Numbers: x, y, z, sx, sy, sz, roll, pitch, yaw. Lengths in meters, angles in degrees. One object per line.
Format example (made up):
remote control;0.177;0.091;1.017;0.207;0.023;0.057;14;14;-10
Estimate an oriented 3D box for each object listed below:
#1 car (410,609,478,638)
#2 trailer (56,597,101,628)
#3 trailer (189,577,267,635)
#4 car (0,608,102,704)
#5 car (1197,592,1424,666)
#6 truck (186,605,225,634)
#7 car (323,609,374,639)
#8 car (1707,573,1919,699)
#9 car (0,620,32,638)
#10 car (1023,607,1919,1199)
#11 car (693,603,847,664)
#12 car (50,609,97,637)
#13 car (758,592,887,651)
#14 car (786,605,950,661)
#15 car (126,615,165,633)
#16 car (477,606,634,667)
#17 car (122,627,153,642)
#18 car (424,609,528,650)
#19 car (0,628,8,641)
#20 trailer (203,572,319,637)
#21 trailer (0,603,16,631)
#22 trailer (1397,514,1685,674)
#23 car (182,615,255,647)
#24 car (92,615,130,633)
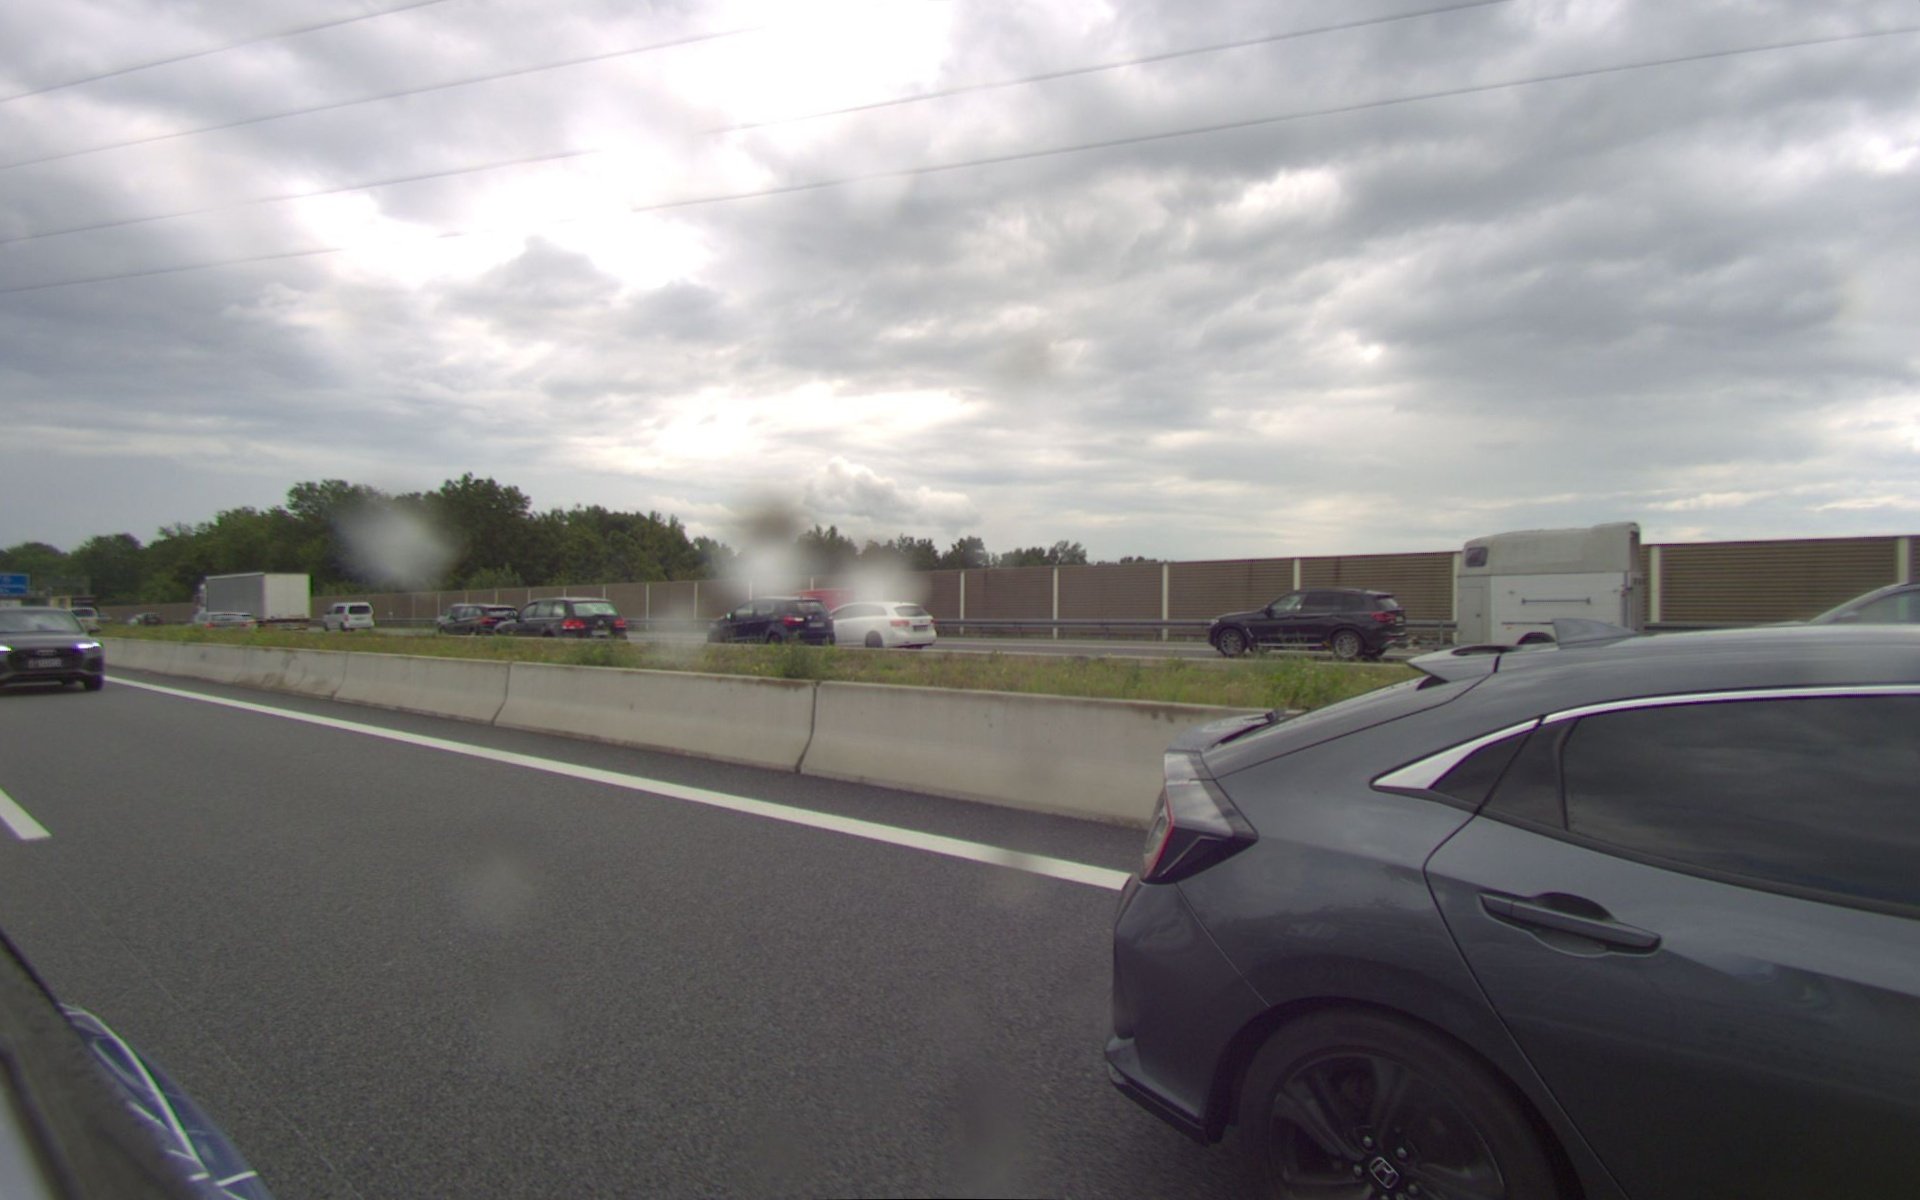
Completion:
car;-30.000;1.348;58.821;4.939;1.622;1.747;-1;0;40
trailer;-117.915;1.707;135.240;14.045;3.993;2.650;-1;0;41
trailer;-53.575;0.450;74.003;6.075;4.074;3.285;-1;0;41
car;-18.904;1.052;20.392;5.169;1.704;1.888;-1;0;43
car;8.375;0.658;24.437;4.817;1.607;1.945;-1;0;40
truck;-68.843;1.762;92.301;2.092;2.435;5.800;-1;0;-45
car;-42.378;1.649;70.104;3.999;2.029;1.982;-1;0;42
car;12.156;0.398;12.219;4.939;1.465;1.945;-1;0;40
car;-85.273;2.629;91.332;4.480;1.548;1.747;-1;0;40
car;2.636;0.700;1.490;5.057;1.379;1.742;-1;-1;41
car;-5.094;0.847;26.852;4.230;1.465;1.747;-1;0;40
car;-66.070;1.708;75.408;5.157;1.914;1.903;-1;0;40
car;-5.045;0.747;36.605;4.939;1.982;1.747;-1;0;40
car;-2.738;0.915;29.261;4.939;1.465;1.747;-1;0;40
car;-72.494;2.114;90.063;5.157;1.548;1.747;-1;0;40
car;-10.902;0.928;27.085;4.939;1.465;1.808;-1;0;40
car;-89.941;3.758;110.633;5.157;1.507;1.747;-1;0;40
car;-18.682;1.102;38.963;4.939;1.465;1.747;-1;0;40
car;-119.776;4.300;125.607;5.236;1.548;1.747;-1;0;40
trailer;-47.871;0.344;69.052;13.280;4.092;3.285;-1;0;41
trailer;-141.790;2.524;148.866;14.042;3.915;2.698;-1;0;40
trailer;12.092;-0.098;21.249;4.897;2.984;2.225;-1;0;40
car;-35.979;1.472;49.059;5.082;1.465;1.747;-1;0;40
car;-76.123;2.138;90.740;5.157;1.548;1.747;-1;0;40
